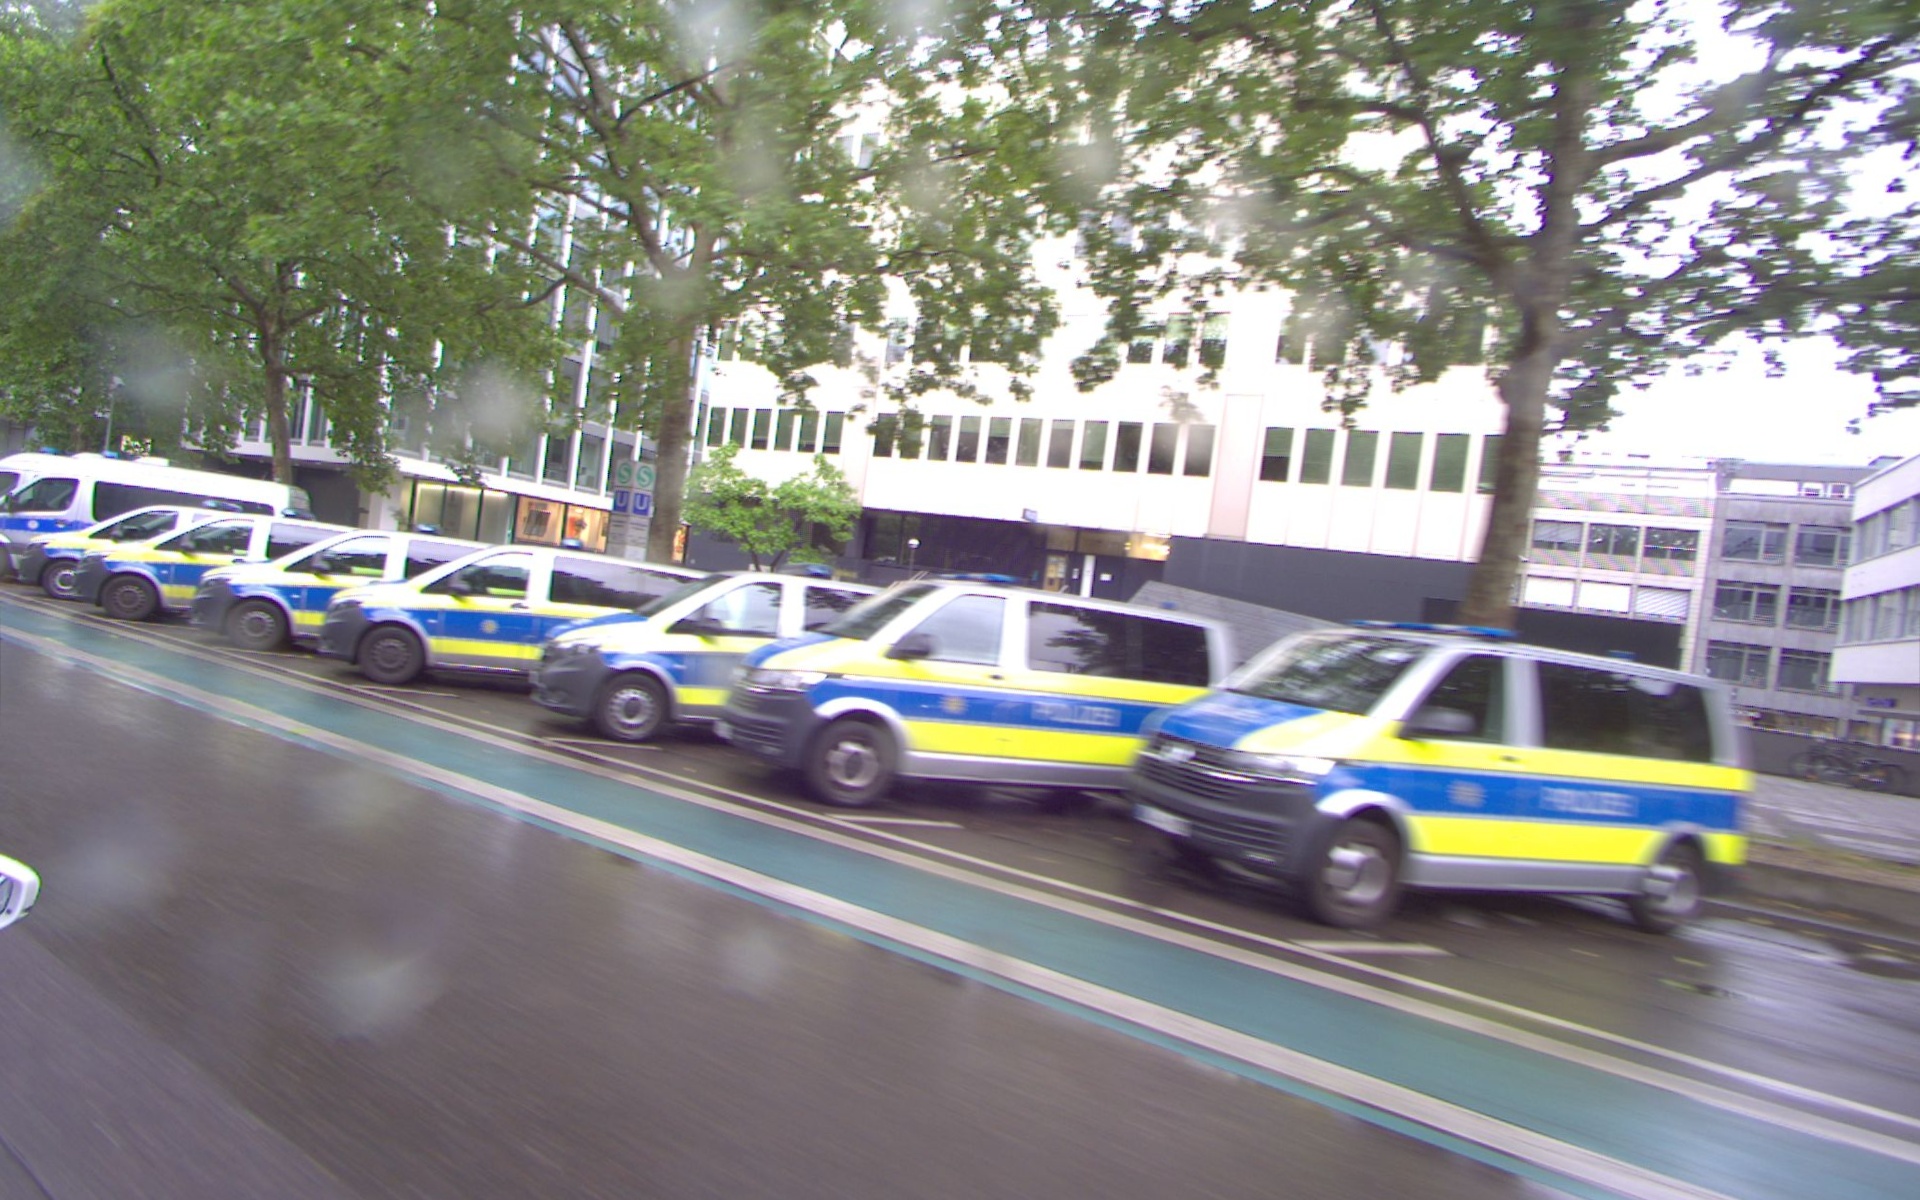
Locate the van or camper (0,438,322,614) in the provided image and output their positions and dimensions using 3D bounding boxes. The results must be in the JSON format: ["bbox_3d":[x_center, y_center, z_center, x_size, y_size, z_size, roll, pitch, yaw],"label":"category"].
[{"bbox_3d":[-16.573,-1.445,20.302,5.736,2.713,1.989,7,0,-23],"label":"van or camper"}]

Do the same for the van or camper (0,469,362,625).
[{"bbox_3d":[-14.077,-0.865,18.424,4.951,2.037,1.990,7,-2,-23],"label":"van or camper"}]

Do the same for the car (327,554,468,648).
[{"bbox_3d":[-10.463,0.000,18.687,2.649,1.405,1.051,7,0,32],"label":"car"}]

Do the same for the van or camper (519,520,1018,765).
[{"bbox_3d":[-2.089,0.536,11.218,4.963,2.019,1.988,8,-1,-26],"label":"van or camper"}]

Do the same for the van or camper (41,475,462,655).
[{"bbox_3d":[-11.181,-0.464,16.468,5.144,2.015,1.989,9,-2,-24],"label":"van or camper"}]

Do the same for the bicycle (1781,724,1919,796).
[{"bbox_3d":[20.106,3.576,22.709,2.249,1.187,0.687,7,0,32],"label":"bicycle"}]

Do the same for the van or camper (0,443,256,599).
[{"bbox_3d":[-19.225,-1.765,21.952,5.737,2.709,2.137,8,-1,-21],"label":"van or camper"}]

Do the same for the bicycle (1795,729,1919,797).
[{"bbox_3d":[21.343,3.841,23.783,2.248,1.187,0.688,7,-1,29],"label":"bicycle"}]

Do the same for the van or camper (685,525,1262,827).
[{"bbox_3d":[0.124,0.749,9.230,4.731,2.034,1.990,8,-1,-23],"label":"van or camper"}]

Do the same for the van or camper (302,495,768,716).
[{"bbox_3d":[-5.314,0.140,13.205,5.038,2.049,2.096,8,-1,-21],"label":"van or camper"}]

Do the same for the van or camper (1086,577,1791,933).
[{"bbox_3d":[3.589,1.167,7.521,4.790,2.022,1.859,8,-1,-22],"label":"van or camper"}]
